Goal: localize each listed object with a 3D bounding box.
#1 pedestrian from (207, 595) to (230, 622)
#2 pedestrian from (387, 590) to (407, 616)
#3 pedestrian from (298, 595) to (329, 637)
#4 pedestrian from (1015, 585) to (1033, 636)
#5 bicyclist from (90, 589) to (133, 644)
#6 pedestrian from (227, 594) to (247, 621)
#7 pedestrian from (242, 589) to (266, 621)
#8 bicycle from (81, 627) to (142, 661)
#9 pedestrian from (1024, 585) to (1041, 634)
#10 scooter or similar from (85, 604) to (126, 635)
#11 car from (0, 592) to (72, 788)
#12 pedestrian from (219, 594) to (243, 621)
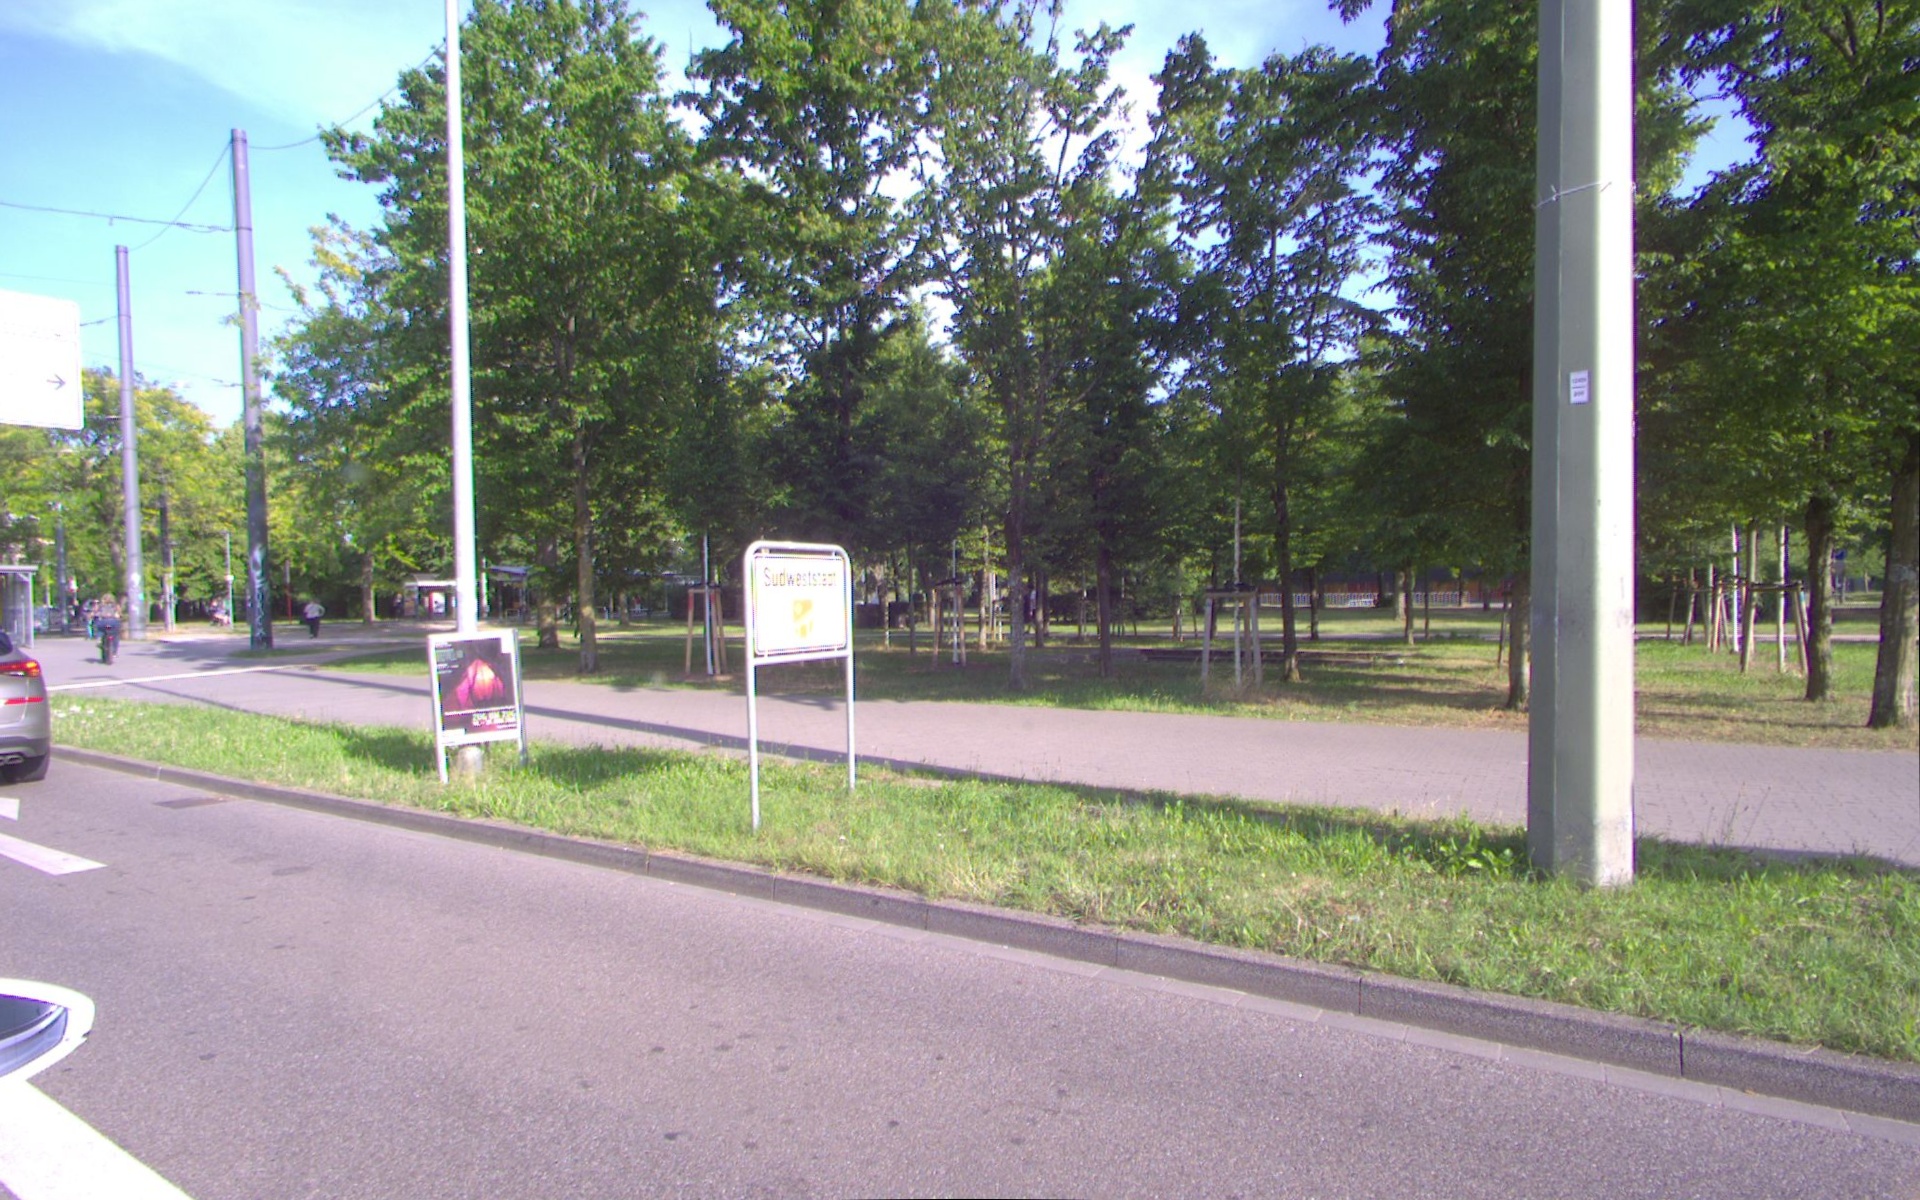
[{"bbox_3d":[-41.044,0.464,55.422,0.687,1.508,0.815,-1,1,-9],"label":"pedestrian"},{"bbox_3d":[-35.539,0.185,63.179,0.792,1.659,0.832,0,1,38],"label":"pedestrian"},{"bbox_3d":[-26.482,0.646,41.027,0.793,1.659,0.754,-1,1,-7],"label":"pedestrian"},{"bbox_3d":[2.331,0.388,36.521,0.617,1.836,0.502,-1,1,6],"label":"pedestrian"},{"bbox_3d":[-20.335,0.390,24.003,0.856,1.279,0.533,0,1,32],"label":"bicyclist"},{"bbox_3d":[-40.004,0.409,55.404,0.804,1.508,0.696,-2,1,-33],"label":"pedestrian"},{"bbox_3d":[-40.265,0.297,57.135,0.826,1.809,0.798,0,1,28],"label":"pedestrian"},{"bbox_3d":[-20.402,1.042,24.060,2.138,0.767,0.494,-1,2,33],"label":"bicycle"},{"bbox_3d":[2.703,0.352,37.255,0.617,1.836,0.502,-1,1,3],"label":"pedestrian"},{"bbox_3d":[-31.436,0.706,36.830,1.305,1.132,0.420,-1,1,13],"label":"scooter or similar"},{"bbox_3d":[-10.006,0.798,9.157,3.595,1.673,1.880,-1,1,32],"label":"car"},{"bbox_3d":[-41.108,0.419,56.449,0.688,1.508,0.813,0,1,22],"label":"pedestrian"}]
